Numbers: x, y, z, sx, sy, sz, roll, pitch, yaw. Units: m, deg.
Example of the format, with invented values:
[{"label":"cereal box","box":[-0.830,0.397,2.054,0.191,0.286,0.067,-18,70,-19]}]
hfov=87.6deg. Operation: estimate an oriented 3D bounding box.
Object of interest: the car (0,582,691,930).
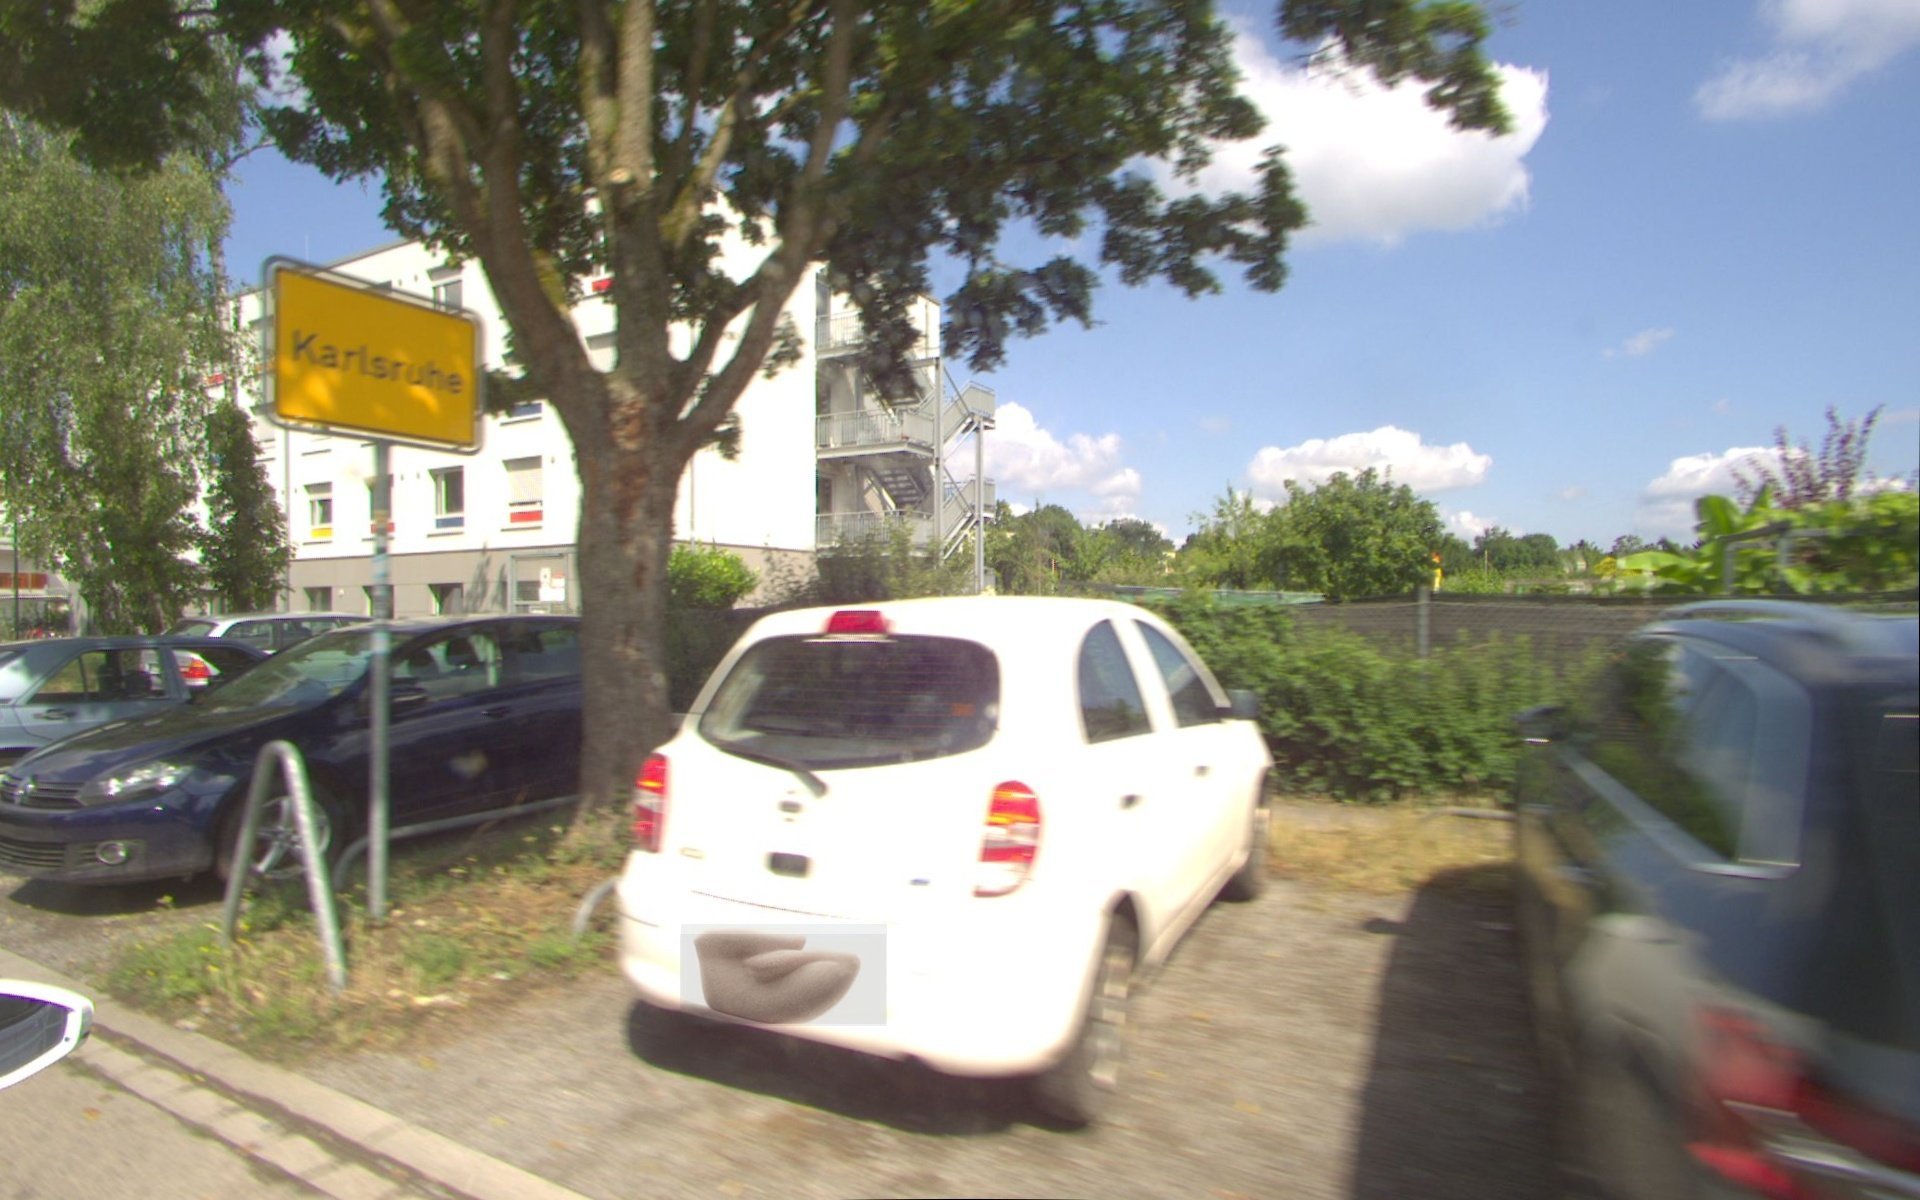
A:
[{"label":"car","box":[-3.897,0.788,6.741,1.839,1.579,3.931,0,-2,28]}]

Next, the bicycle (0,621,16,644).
[{"label":"bicycle","box":[-46.976,1.588,48.237,0.616,1.134,2.082,0,1,34]}]

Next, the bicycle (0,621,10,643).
[{"label":"bicycle","box":[-48.361,1.610,49.417,0.678,1.094,2.042,0,1,33]}]

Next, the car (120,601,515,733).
[{"label":"car","box":[-8.557,0.779,13.776,1.732,1.450,4.234,0,1,29]}]

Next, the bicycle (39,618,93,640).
[{"label":"bicycle","box":[-48.087,1.550,53.861,0.678,1.094,2.042,0,1,33]}]

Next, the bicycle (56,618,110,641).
[{"label":"bicycle","box":[-46.052,1.531,52.596,0.678,1.094,2.042,0,1,33]}]

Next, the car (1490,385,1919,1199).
[{"label":"car","box":[2.454,0.690,2.588,1.780,1.598,4.549,0,-2,26]}]

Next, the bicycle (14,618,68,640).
[{"label":"bicycle","box":[-50.675,1.593,55.231,0.678,1.094,2.042,0,1,33]}]

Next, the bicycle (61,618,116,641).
[{"label":"bicycle","box":[-45.383,1.532,52.150,0.678,1.094,2.042,0,1,33]}]

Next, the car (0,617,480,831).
[{"label":"car","box":[-6.528,0.877,8.309,1.694,1.410,4.347,-1,0,34]}]

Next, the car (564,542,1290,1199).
[{"label":"car","box":[0.301,0.716,4.353,1.640,1.569,3.574,0,-2,27]}]
